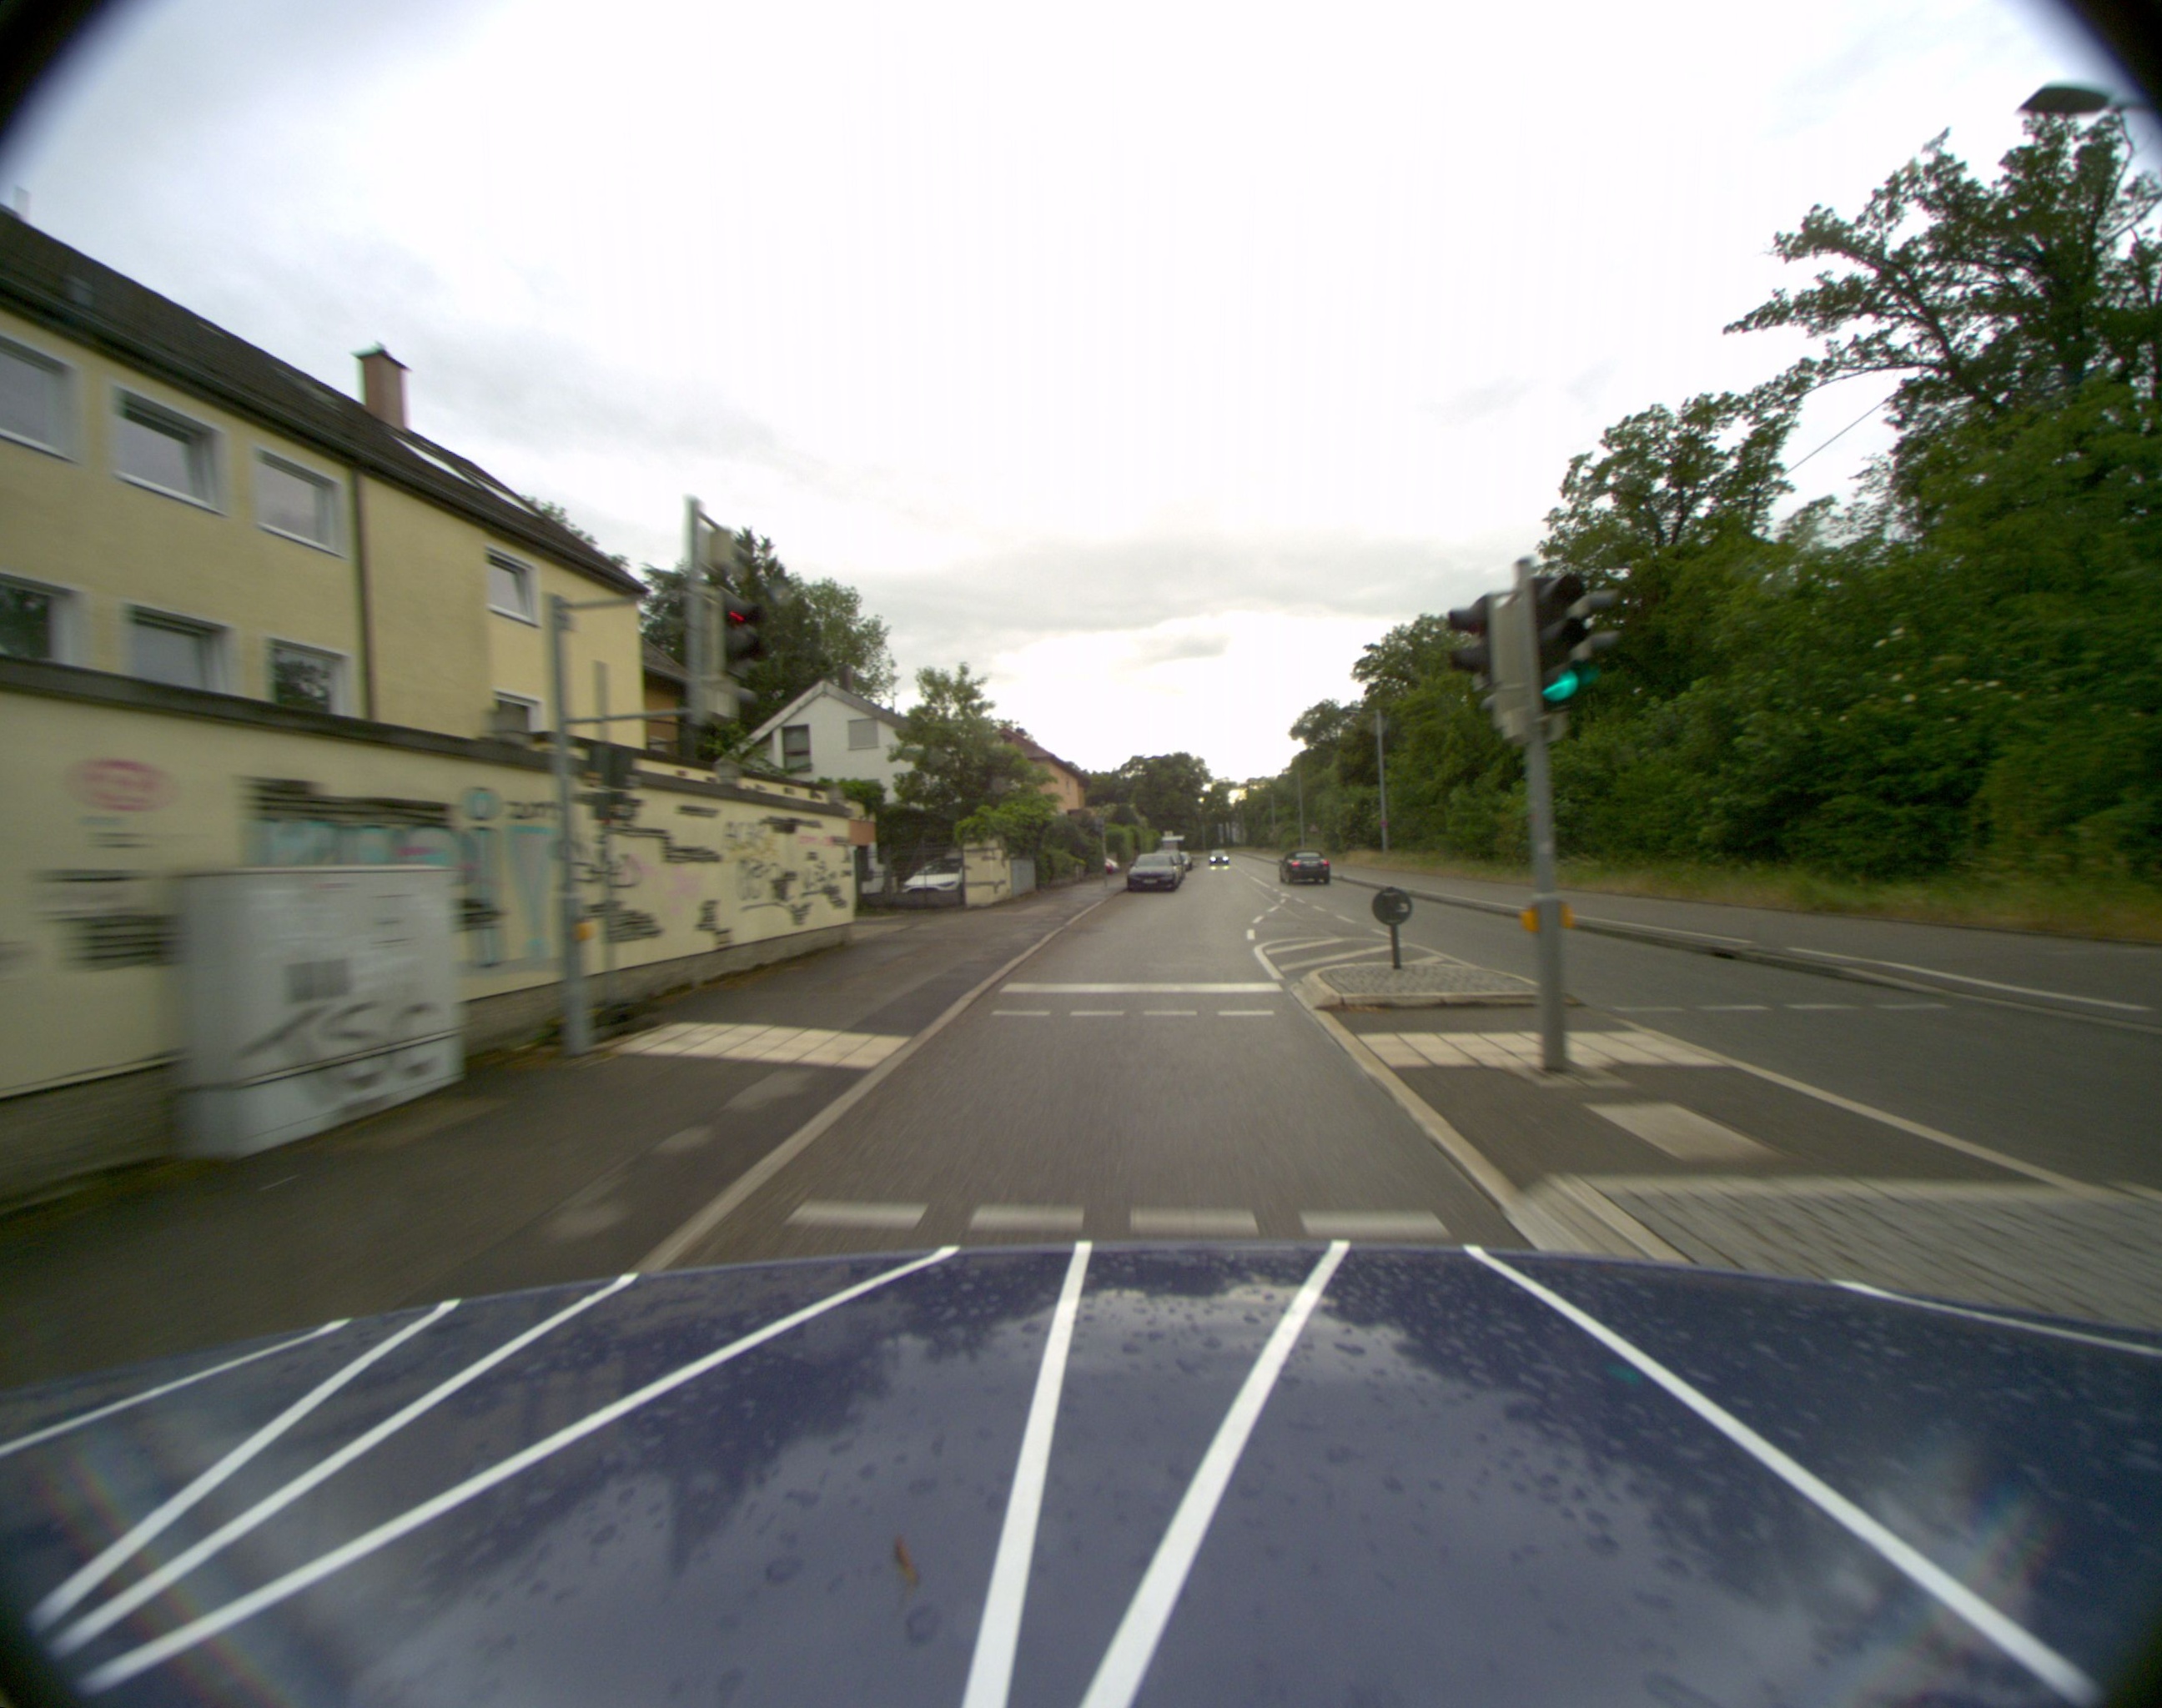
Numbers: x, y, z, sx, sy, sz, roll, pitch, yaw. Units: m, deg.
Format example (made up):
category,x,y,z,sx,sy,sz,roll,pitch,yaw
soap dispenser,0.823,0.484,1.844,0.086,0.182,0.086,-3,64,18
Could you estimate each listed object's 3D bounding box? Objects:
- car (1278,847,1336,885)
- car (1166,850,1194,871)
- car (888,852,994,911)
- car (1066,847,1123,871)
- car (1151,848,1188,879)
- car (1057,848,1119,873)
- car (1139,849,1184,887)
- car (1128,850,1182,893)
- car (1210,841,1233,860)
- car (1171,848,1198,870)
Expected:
category,x,y,z,sx,sy,sz,roll,pitch,yaw
car,9.728,0.454,32.998,1.747,1.451,4.416,-2,1,8
car,7.516,0.442,57.659,1.816,1.390,4.105,-2,1,11
car,-4.492,0.830,25.107,1.935,1.587,4.344,-3,1,10
car,0.953,0.351,51.437,3.664,1.527,1.829,1,1,7
car,4.889,0.486,41.544,1.733,1.558,4.525,-1,0,10
car,0.490,0.384,48.473,3.664,1.557,1.883,0,1,9
car,3.831,0.599,35.531,1.796,1.478,4.497,-2,1,9
car,3.012,0.628,30.290,1.755,1.435,4.603,-2,1,10
car,13.545,-0.350,73.069,1.997,1.714,4.003,-1,1,12
car,8.461,0.365,62.114,1.833,1.538,4.632,-2,1,11
